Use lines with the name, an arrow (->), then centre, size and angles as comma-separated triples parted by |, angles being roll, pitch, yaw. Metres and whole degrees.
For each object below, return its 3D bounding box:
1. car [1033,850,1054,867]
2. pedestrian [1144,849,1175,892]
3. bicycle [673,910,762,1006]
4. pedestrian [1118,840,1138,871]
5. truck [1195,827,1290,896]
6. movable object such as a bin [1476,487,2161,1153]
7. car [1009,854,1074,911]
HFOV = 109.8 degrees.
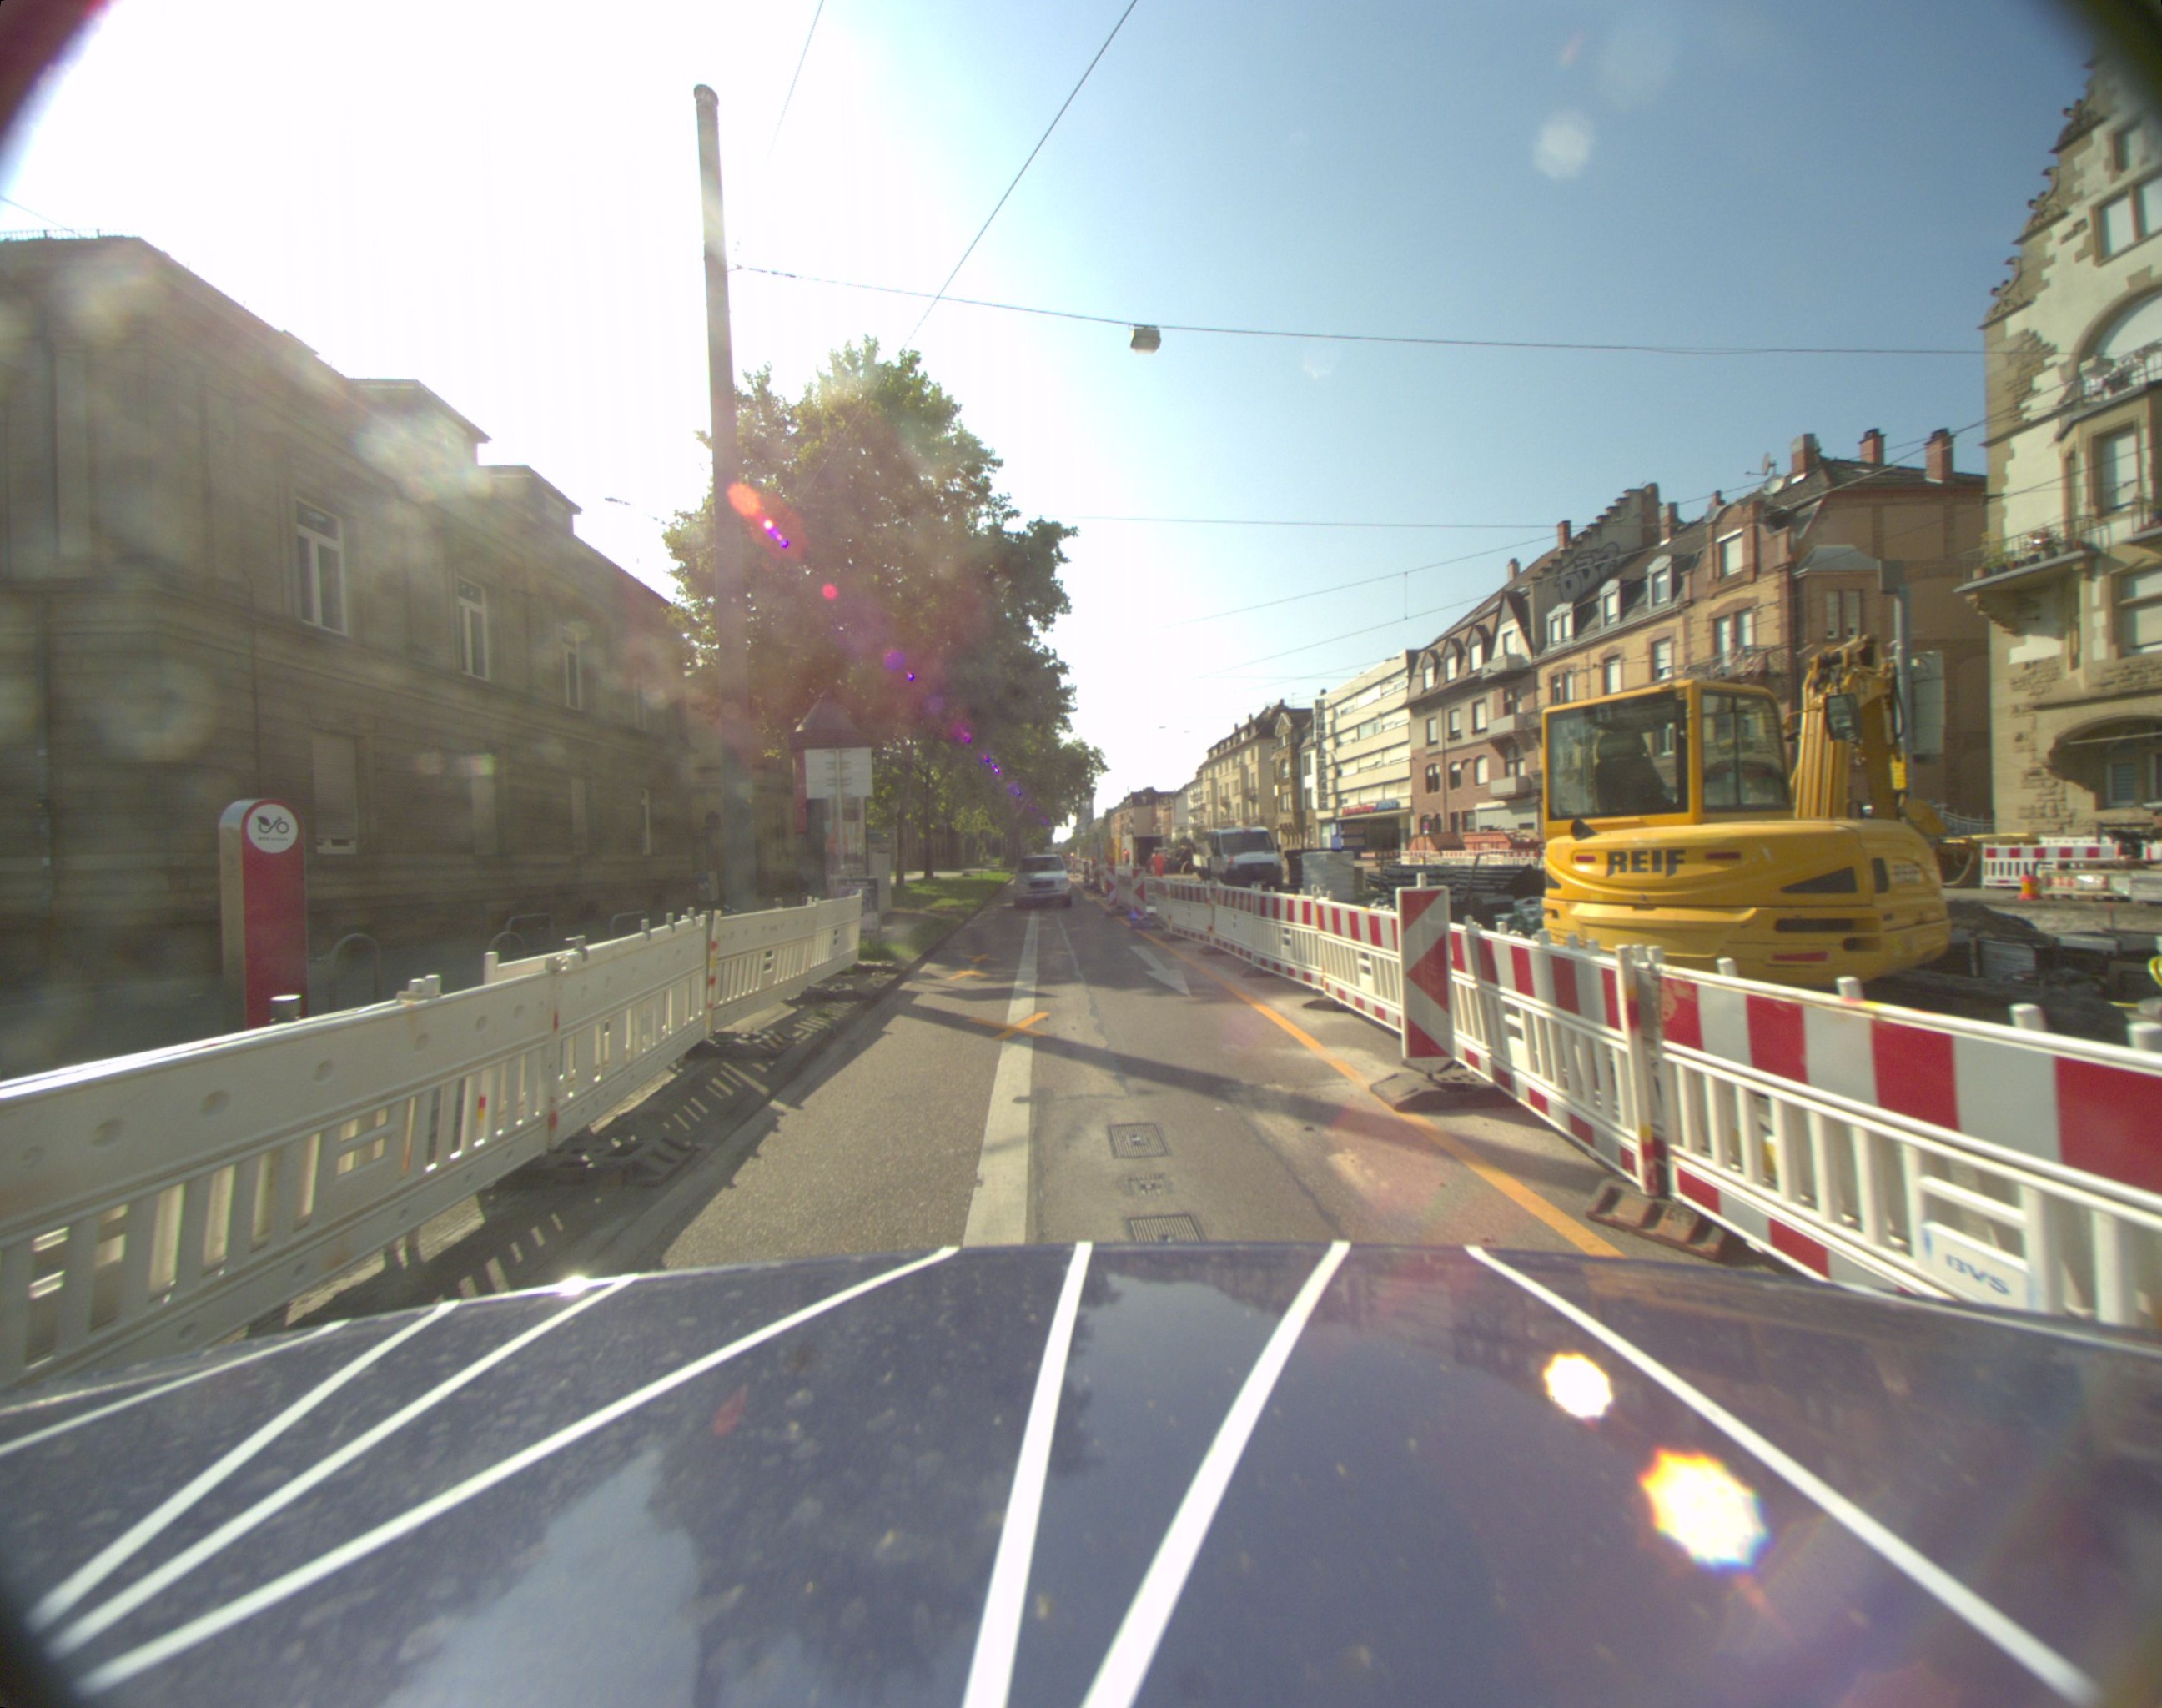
car -> -3.832, 0.435, 77.100 | 1.999, 1.686, 5.223 | -2, 0, -3
pedestrian -> 3.241, 0.678, 31.411 | 1.034, 1.700, 1.095 | -2, 1, -4
bicycle -> -4.423, 1.234, 9.331 | 0.411, 0.981, 1.376 | -2, 1, -1
pedestrian -> 3.139, 0.113, 50.749 | 0.909, 2.002, 0.913 | -3, 2, 23
truck -> 5.783, 0.209, 28.272 | 2.163, 2.209, 7.050 | -1, 1, 1
movable object such as a bin -> 6.283, -0.274, 5.953 | 6.169, 3.327, 2.113 | -3, 1, -23
car -> -1.360, 0.873, 26.302 | 1.999, 1.686, 5.223 | -1, 1, -3
